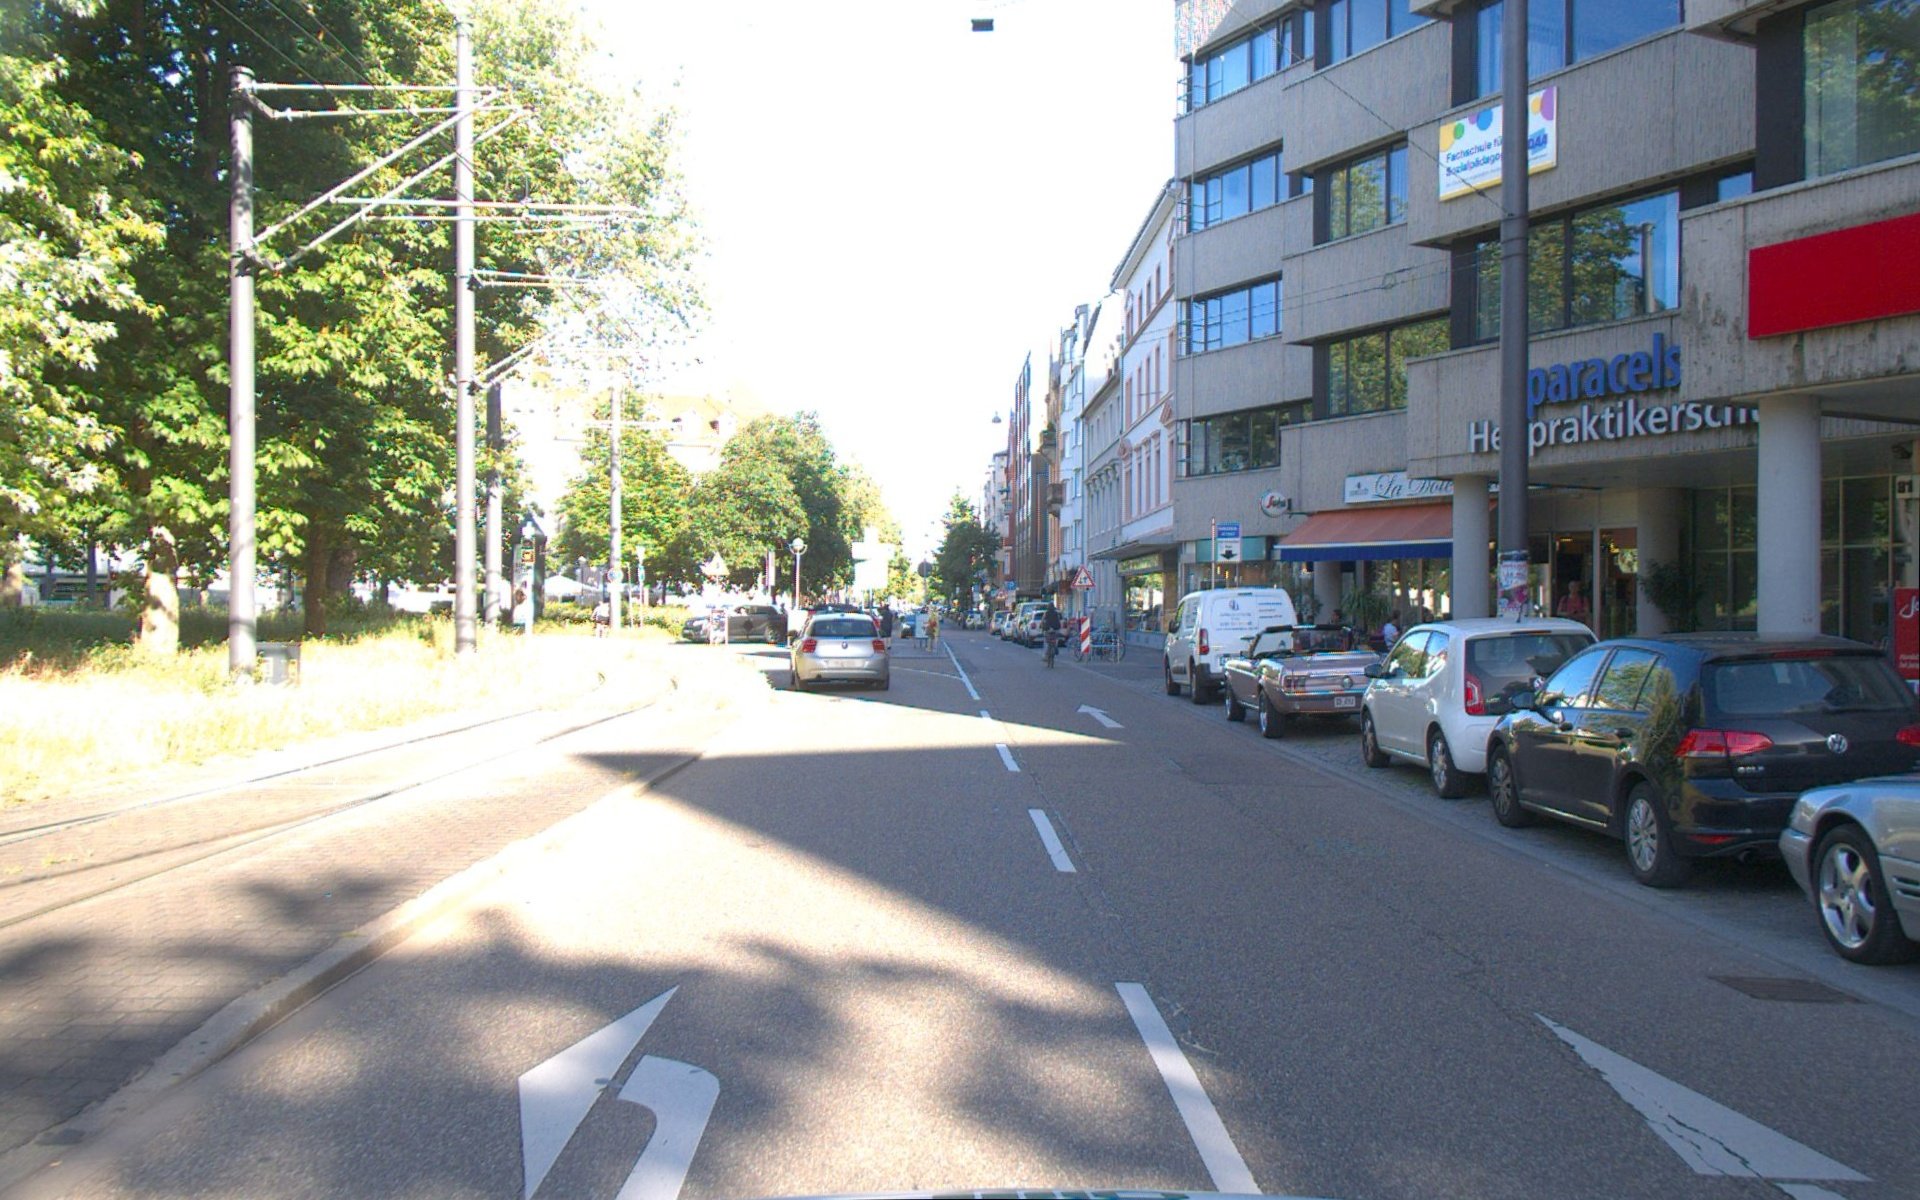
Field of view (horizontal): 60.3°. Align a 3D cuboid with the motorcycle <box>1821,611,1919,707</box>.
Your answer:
[{"bbox_3d":[12.277,0.758,21.676,0.502,1.188,2.095,2,0,-13],"label":"motorcycle"}]

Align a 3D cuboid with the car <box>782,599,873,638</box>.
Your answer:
[{"bbox_3d":[-6.252,0.868,77.909,3.924,1.697,1.990,2,-1,-18],"label":"car"}]

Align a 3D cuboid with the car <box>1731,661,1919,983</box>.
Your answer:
[{"bbox_3d":[5.088,0.978,6.517,1.814,1.367,4.597,2,-2,-2],"label":"car"}]

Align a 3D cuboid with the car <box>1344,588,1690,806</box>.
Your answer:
[{"bbox_3d":[4.992,0.839,15.414,1.814,1.718,3.865,2,-2,-2],"label":"car"}]

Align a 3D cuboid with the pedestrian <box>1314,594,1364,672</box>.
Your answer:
[{"bbox_3d":[8.643,0.754,37.716,0.832,1.740,0.713,-1,0,-29],"label":"pedestrian"}]

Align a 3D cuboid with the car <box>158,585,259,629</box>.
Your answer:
[{"bbox_3d":[-43.770,0.452,96.441,5.267,2.355,1.984,2,-2,-25],"label":"car"}]

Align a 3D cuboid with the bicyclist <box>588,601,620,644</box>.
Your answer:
[{"bbox_3d":[-13.229,0.838,61.445,0.918,1.534,0.818,3,-2,-29],"label":"bicyclist"}]

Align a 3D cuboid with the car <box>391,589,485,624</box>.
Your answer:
[{"bbox_3d":[-33.803,0.415,107.171,5.512,2.049,1.801,3,-2,-28],"label":"car"}]

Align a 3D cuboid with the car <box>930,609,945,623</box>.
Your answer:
[{"bbox_3d":[-2.889,2.008,208.818,1.832,1.583,3.999,2,-2,-1],"label":"car"}]

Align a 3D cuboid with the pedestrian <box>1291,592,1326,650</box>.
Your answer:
[{"bbox_3d":[7.756,0.469,36.822,0.617,1.258,0.624,-1,-2,2],"label":"pedestrian"}]

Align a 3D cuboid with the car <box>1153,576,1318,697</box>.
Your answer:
[{"bbox_3d":[4.600,0.631,28.254,1.953,1.844,4.307,2,-2,-2],"label":"car"}]

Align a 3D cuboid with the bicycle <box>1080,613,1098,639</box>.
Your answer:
[{"bbox_3d":[6.313,1.292,81.039,0.473,1.206,1.720,-2,-3,17],"label":"bicycle"}]

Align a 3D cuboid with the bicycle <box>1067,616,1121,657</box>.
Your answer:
[{"bbox_3d":[4.251,1.161,52.302,1.587,1.265,0.659,0,-2,19],"label":"bicycle"}]

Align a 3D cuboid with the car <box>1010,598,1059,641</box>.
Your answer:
[{"bbox_3d":[3.678,0.967,82.016,1.954,2.040,5.114,1,0,-3],"label":"car"}]

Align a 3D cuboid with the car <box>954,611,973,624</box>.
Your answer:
[{"bbox_3d":[0.400,1.982,186.257,1.953,1.478,3.998,1,-1,-2],"label":"car"}]

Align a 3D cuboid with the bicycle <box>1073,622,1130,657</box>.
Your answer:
[{"bbox_3d":[4.349,1.202,50.842,1.667,1.022,0.428,1,-2,15],"label":"bicycle"}]

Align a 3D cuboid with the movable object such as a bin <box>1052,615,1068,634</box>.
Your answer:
[{"bbox_3d":[6.165,1.492,101.850,0.858,1.143,0.828,2,-2,-2],"label":"movable object such as a bin"}]

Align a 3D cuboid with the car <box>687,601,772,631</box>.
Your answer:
[{"bbox_3d":[-15.462,1.075,110.833,5.203,1.831,2.143,3,-2,-28],"label":"car"}]

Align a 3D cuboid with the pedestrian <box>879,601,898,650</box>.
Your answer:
[{"bbox_3d":[-2.554,0.909,59.114,0.623,1.701,0.692,1,-2,-1],"label":"pedestrian"}]

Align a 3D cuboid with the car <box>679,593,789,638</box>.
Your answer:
[{"bbox_3d":[-8.694,0.612,63.658,3.819,1.712,1.793,1,-1,-31],"label":"car"}]

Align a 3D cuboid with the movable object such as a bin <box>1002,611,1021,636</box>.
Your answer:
[{"bbox_3d":[3.192,1.471,102.208,1.051,1.482,1.493,-2,0,3],"label":"movable object such as a bin"}]

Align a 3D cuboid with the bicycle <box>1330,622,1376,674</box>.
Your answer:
[{"bbox_3d":[8.258,1.017,34.813,0.551,1.052,1.644,2,-2,-1],"label":"bicycle"}]

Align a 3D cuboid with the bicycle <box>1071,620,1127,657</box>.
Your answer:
[{"bbox_3d":[4.243,1.170,50.473,1.643,1.081,0.344,1,-2,15],"label":"bicycle"}]

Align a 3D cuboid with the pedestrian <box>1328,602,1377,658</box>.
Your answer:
[{"bbox_3d":[9.373,0.715,39.548,0.827,1.315,0.828,-1,-1,-13],"label":"pedestrian"}]

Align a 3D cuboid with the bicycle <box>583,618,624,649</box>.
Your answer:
[{"bbox_3d":[-13.268,1.246,61.470,0.800,1.088,2.559,3,-2,-28],"label":"bicycle"}]

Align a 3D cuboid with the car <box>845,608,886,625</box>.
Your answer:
[{"bbox_3d":[-9.245,1.659,162.228,3.906,1.534,1.894,2,-1,-1],"label":"car"}]

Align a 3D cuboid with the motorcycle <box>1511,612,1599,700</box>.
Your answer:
[{"bbox_3d":[8.452,0.797,23.582,0.747,1.175,2.049,-2,-2,8],"label":"motorcycle"}]

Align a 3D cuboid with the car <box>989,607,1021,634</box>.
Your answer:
[{"bbox_3d":[3.054,1.427,112.750,1.860,1.704,4.823,2,-2,-2],"label":"car"}]

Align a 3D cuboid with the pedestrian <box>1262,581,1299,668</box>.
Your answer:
[{"bbox_3d":[7.121,0.545,36.793,0.657,1.889,0.610,-2,-2,2],"label":"pedestrian"}]

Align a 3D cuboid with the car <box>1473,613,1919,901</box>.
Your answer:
[{"bbox_3d":[4.919,0.924,11.201,1.636,1.545,4.199,2,-2,1],"label":"car"}]

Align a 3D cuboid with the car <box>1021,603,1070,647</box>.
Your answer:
[{"bbox_3d":[3.651,1.115,71.415,1.710,1.769,4.958,2,-2,-1],"label":"car"}]

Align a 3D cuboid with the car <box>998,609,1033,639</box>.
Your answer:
[{"bbox_3d":[3.048,1.349,91.419,1.684,1.541,3.581,-2,-1,-2],"label":"car"}]

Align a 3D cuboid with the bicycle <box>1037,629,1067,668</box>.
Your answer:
[{"bbox_3d":[2.455,1.295,44.375,0.639,0.975,2.698,2,-2,1],"label":"bicycle"}]

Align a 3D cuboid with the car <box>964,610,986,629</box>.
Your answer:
[{"bbox_3d":[1.393,1.868,153.910,1.952,1.646,4.010,2,-2,1],"label":"car"}]

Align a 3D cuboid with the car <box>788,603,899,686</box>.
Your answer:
[{"bbox_3d":[-2.305,0.851,31.877,1.955,1.448,4.191,2,-2,-6],"label":"car"}]

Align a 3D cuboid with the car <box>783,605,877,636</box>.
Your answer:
[{"bbox_3d":[-7.018,1.100,89.232,4.773,1.514,1.751,2,-2,-25],"label":"car"}]

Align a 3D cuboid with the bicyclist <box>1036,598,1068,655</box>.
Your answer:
[{"bbox_3d":[2.458,0.703,44.196,0.770,1.478,1.095,2,-2,0],"label":"bicyclist"}]

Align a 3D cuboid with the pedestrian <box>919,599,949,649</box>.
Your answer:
[{"bbox_3d":[-0.903,0.831,58.090,0.665,1.729,0.792,3,-2,-44],"label":"pedestrian"}]

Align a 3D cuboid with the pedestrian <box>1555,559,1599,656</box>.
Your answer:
[{"bbox_3d":[11.904,0.155,31.936,0.688,1.848,0.717,1,-2,14],"label":"pedestrian"}]

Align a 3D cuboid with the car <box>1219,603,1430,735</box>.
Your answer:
[{"bbox_3d":[4.602,0.865,21.561,1.738,1.479,4.730,2,-2,1],"label":"car"}]
